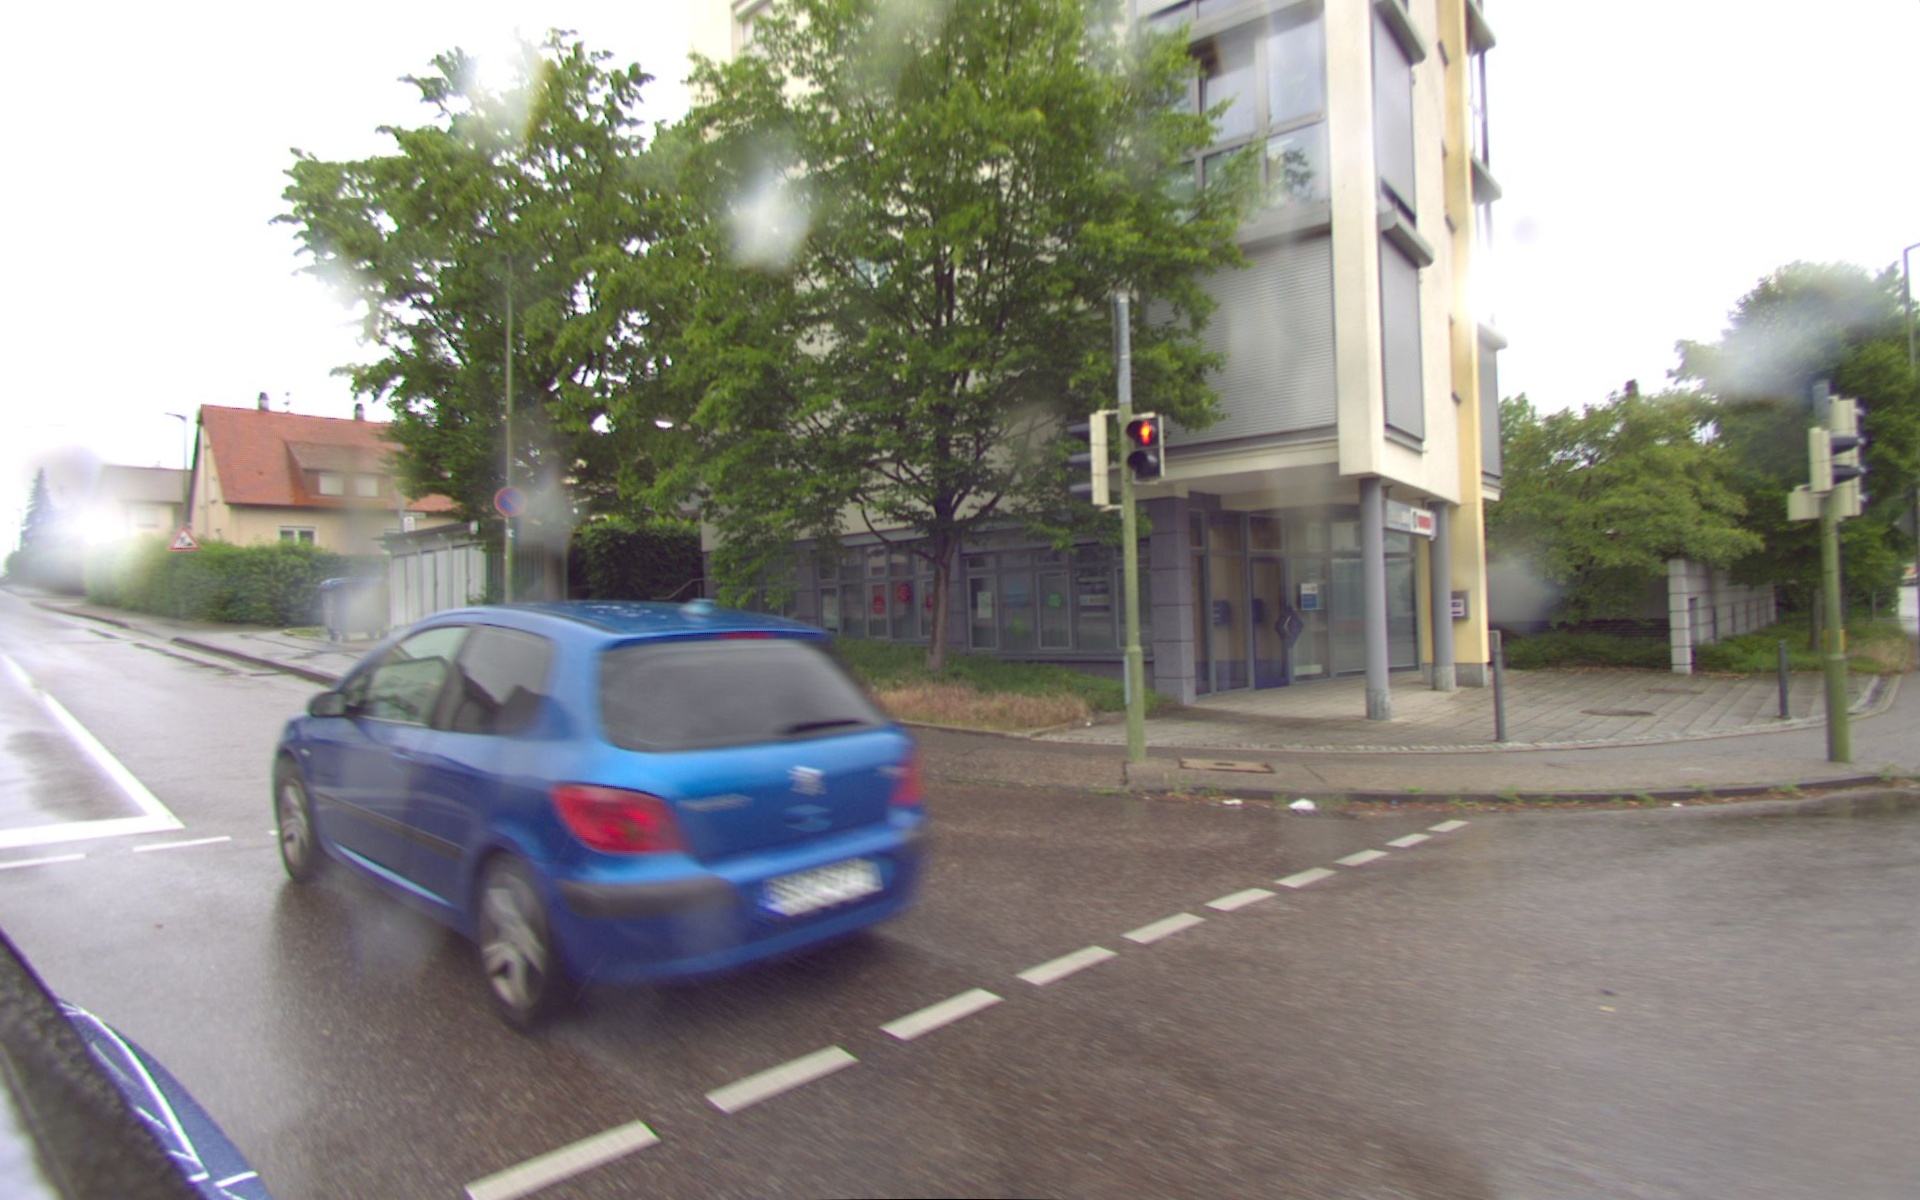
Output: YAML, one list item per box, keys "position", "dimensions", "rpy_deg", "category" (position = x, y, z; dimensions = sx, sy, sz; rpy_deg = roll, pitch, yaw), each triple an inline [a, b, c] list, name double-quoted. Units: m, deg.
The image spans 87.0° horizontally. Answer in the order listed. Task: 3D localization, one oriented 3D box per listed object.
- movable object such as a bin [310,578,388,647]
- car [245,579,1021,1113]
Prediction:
- position: [-12.817, 0.254, 21.228]
  dimensions: [1.202, 1.306, 1.042]
  rpy_deg: [-1, 5, 44]
  category: "movable object such as a bin"
- position: [-1.823, 0.664, 4.841]
  dimensions: [3.999, 1.456, 1.749]
  rpy_deg: [2, 2, 42]
  category: "car"
